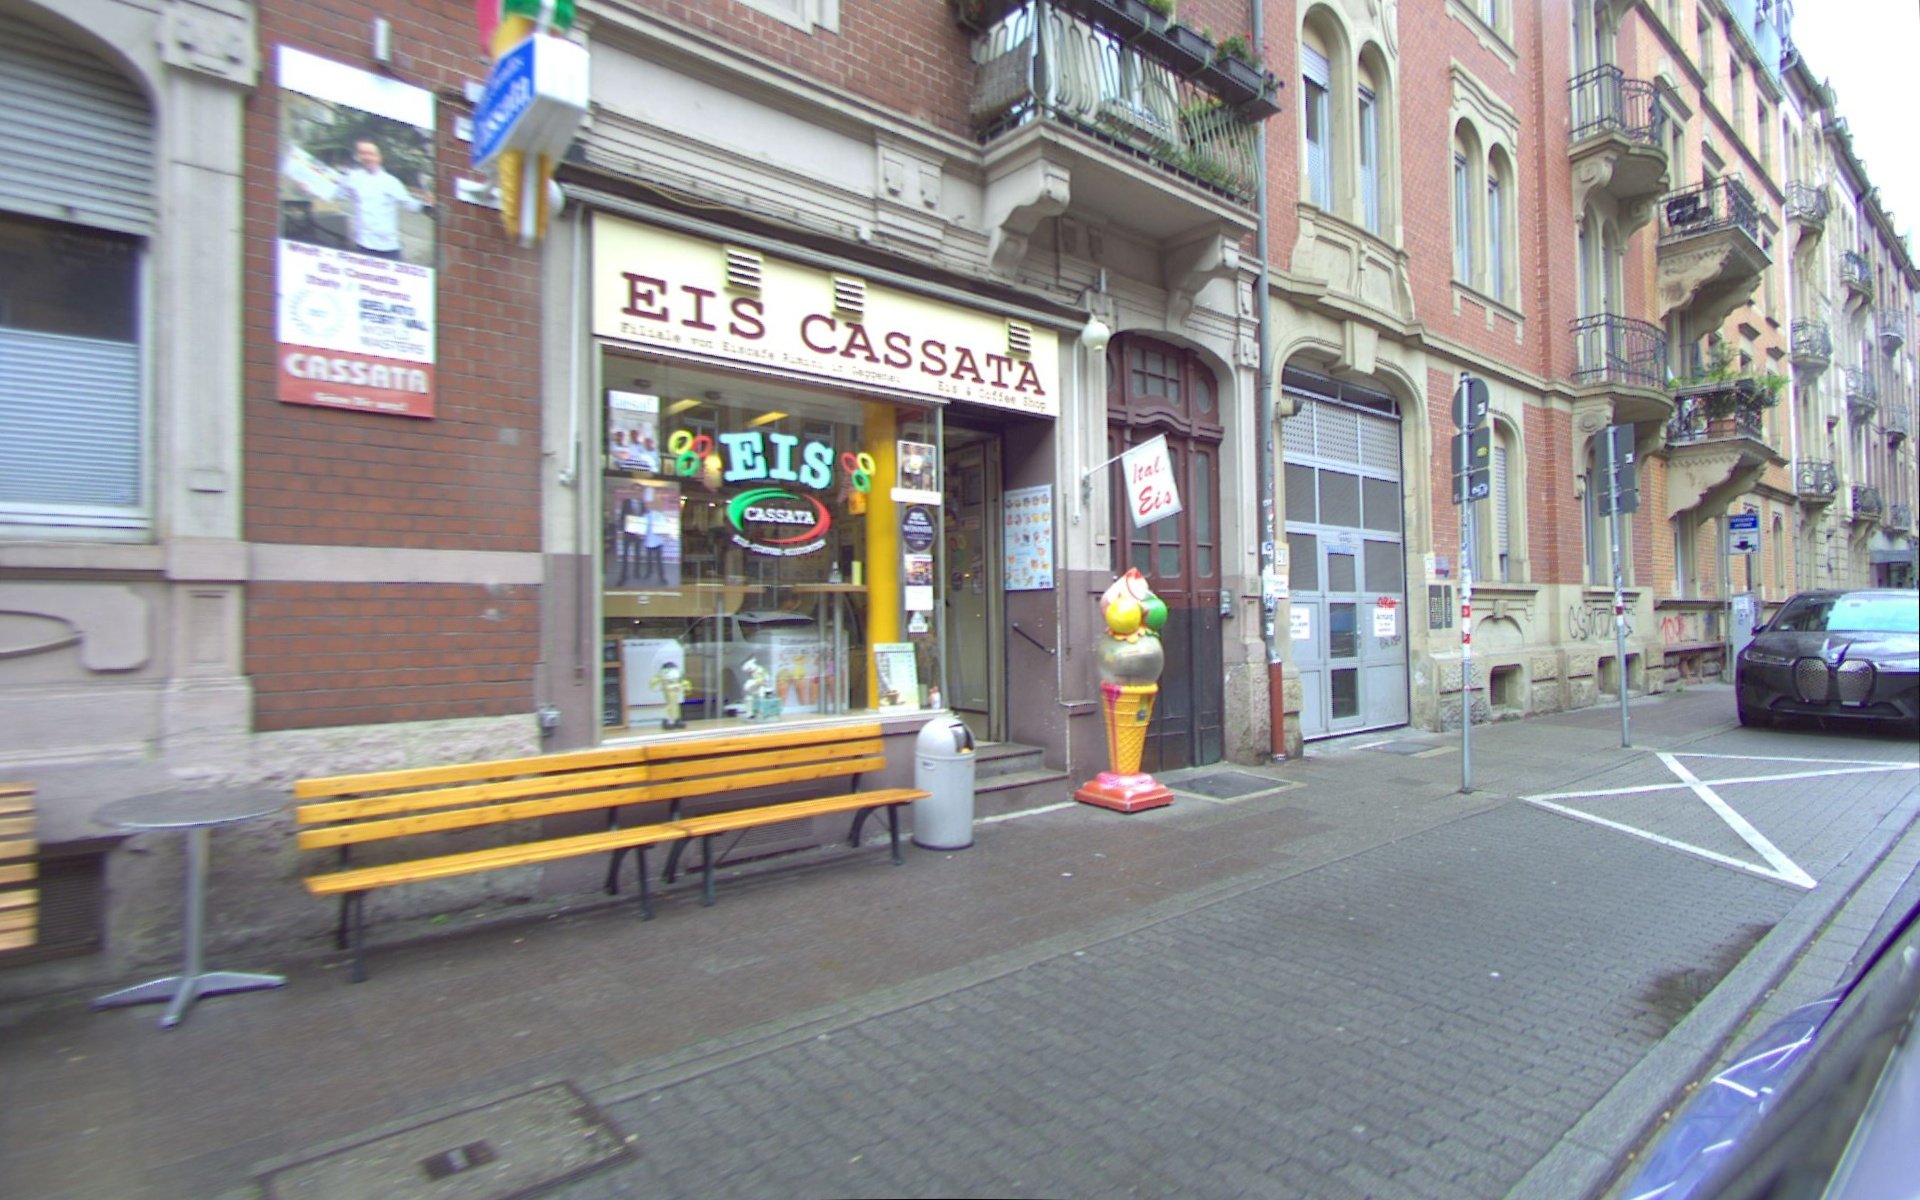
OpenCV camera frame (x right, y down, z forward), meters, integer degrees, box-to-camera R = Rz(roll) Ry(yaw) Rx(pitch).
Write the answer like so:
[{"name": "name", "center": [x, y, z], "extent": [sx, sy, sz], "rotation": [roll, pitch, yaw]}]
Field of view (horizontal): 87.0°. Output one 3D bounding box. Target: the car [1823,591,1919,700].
[{"name": "car", "center": [15.479, 0.666, 16.217], "extent": [4.268, 1.581, 1.875], "rotation": [0, 0, -40]}]

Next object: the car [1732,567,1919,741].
[{"name": "car", "center": [11.313, 0.552, 12.498], "extent": [4.744, 1.802, 1.996], "rotation": [0, -1, -42]}]

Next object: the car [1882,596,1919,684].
[{"name": "car", "center": [19.397, 0.709, 19.535], "extent": [4.406, 1.485, 1.790], "rotation": [-3, 1, -40]}]
